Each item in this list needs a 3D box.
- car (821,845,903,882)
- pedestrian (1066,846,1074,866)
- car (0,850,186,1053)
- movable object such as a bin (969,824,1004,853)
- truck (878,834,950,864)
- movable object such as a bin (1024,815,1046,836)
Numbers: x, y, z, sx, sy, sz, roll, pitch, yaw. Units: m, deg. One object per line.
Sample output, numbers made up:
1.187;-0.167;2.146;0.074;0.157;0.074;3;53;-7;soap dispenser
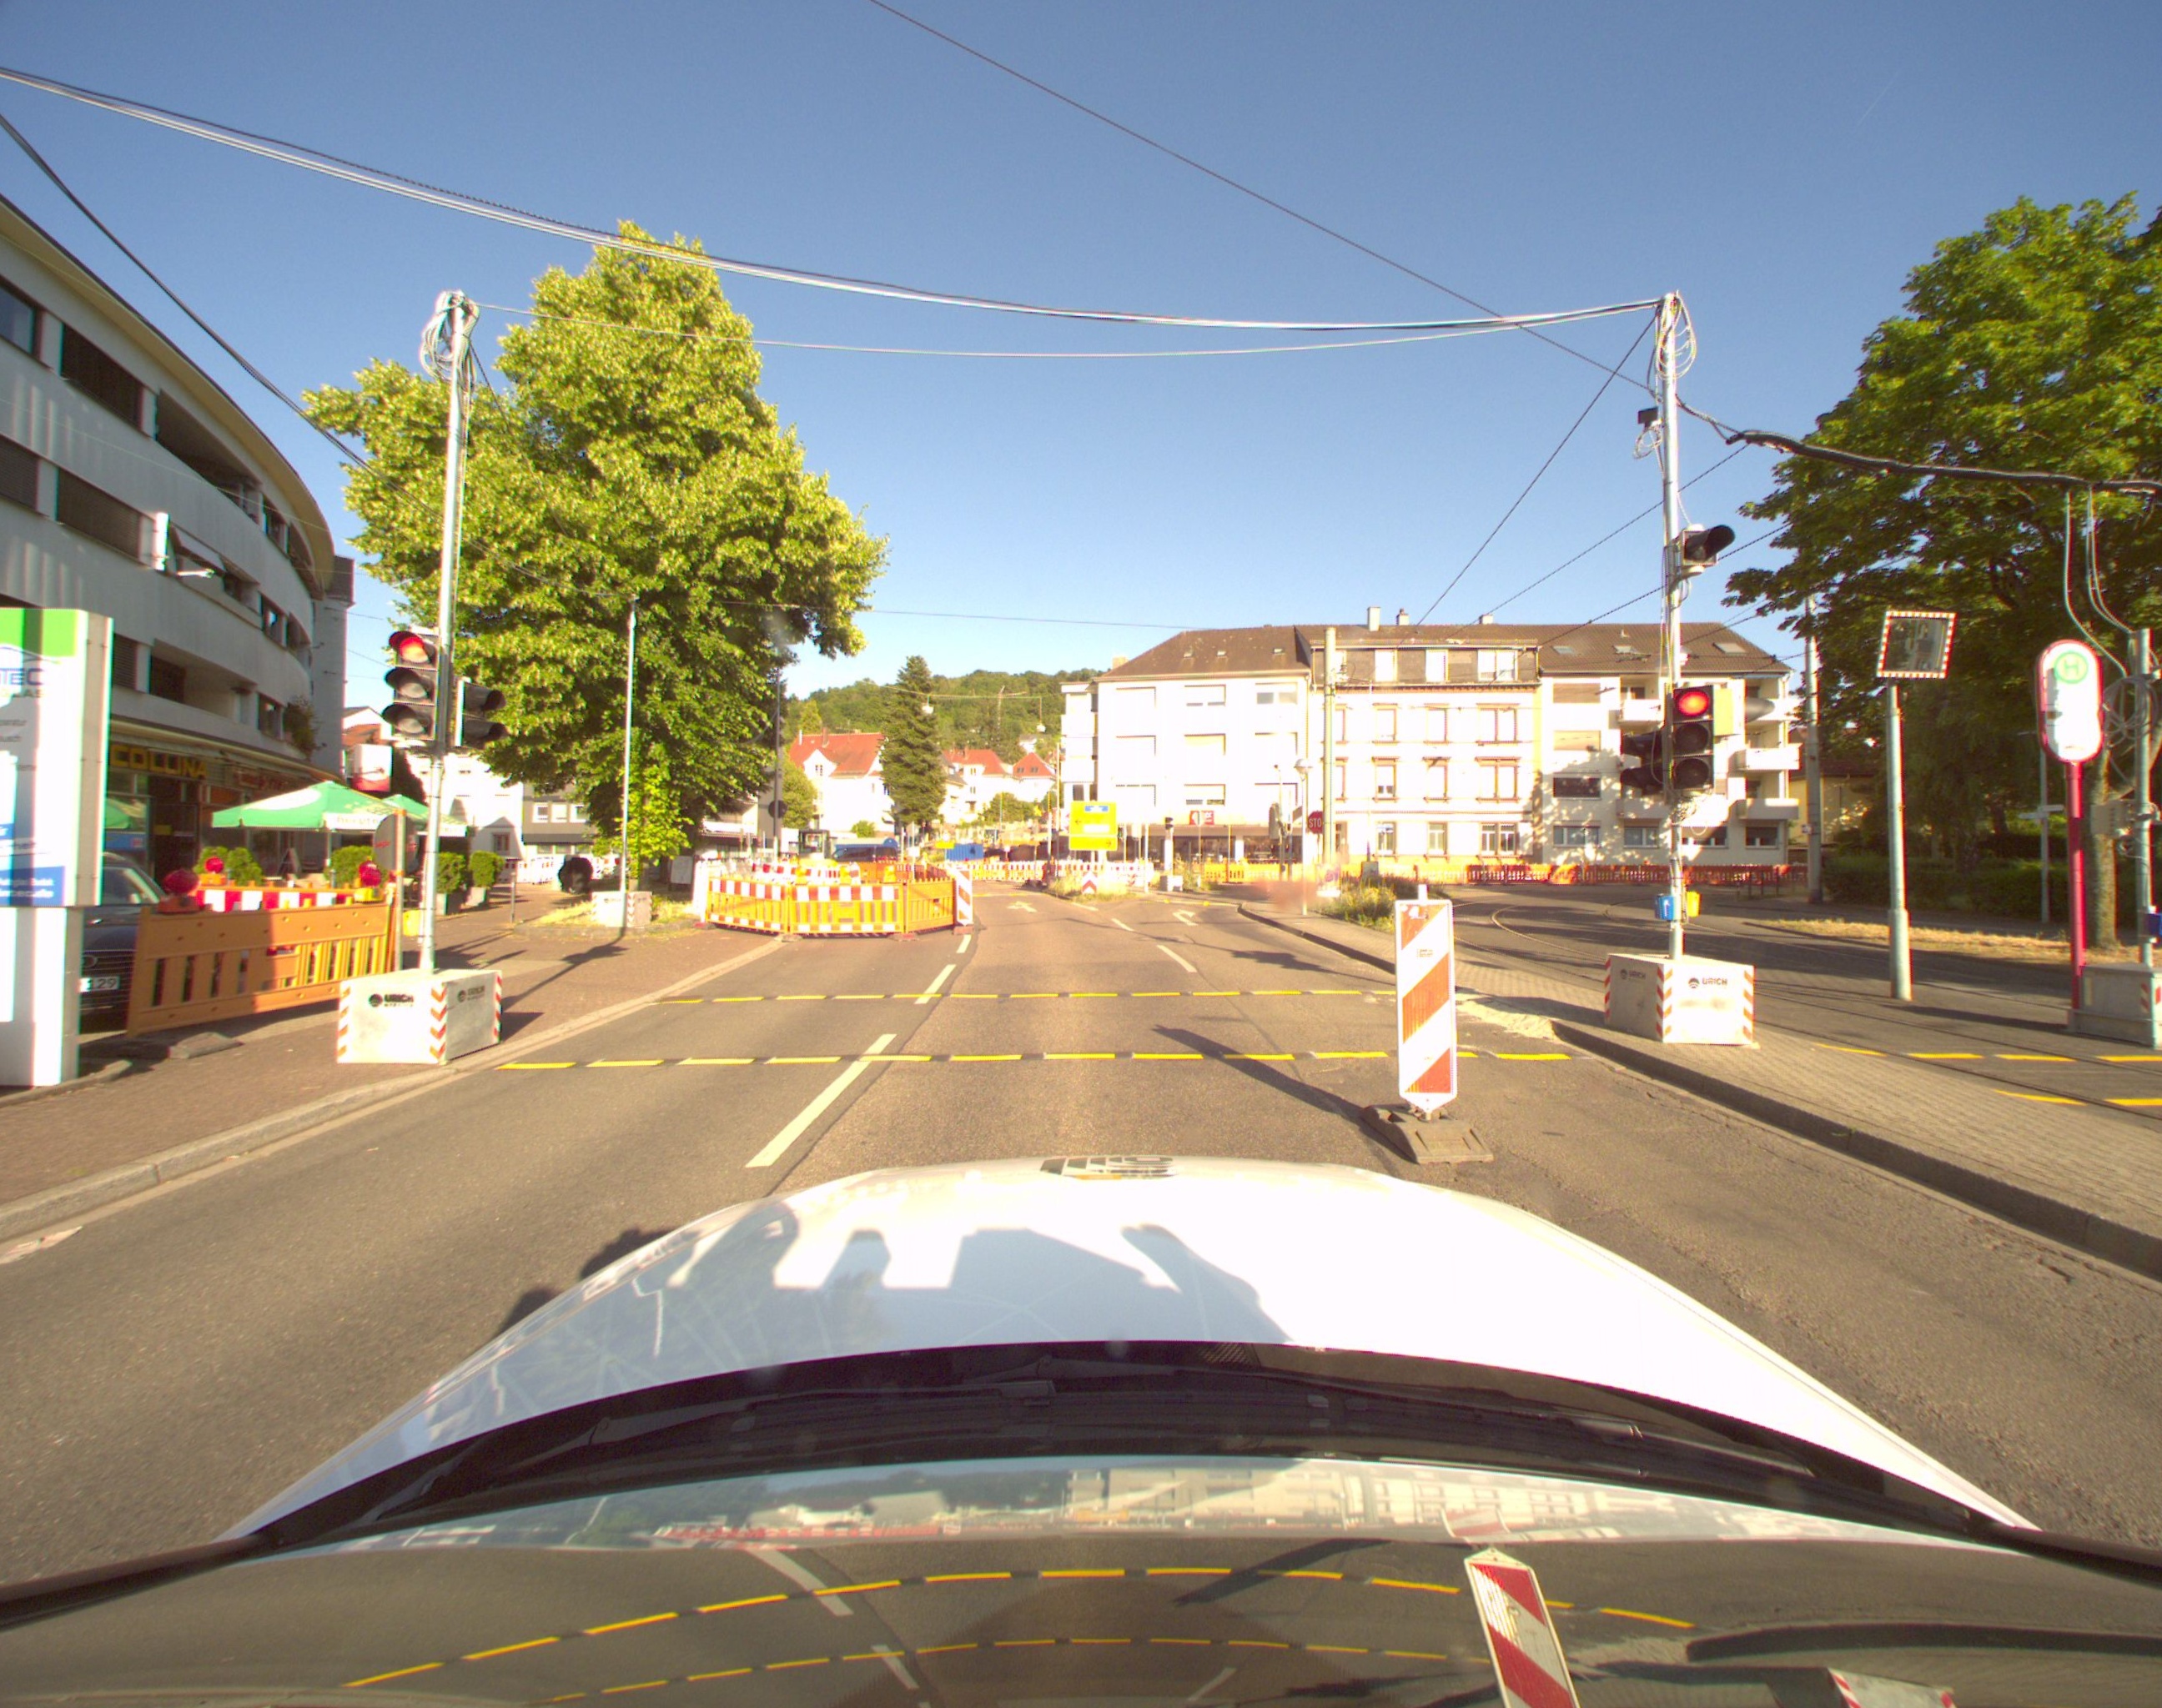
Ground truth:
-12.630;0.501;46.803;4.936;2.014;2.081;0;0;40;car
-0.929;0.181;70.158;0.638;1.760;0.718;0;-1;2;pedestrian
-9.600;0.727;7.536;4.246;1.454;1.660;1;0;43;car
-9.229;-1.498;79.759;2.176;2.690;4.013;0;0;12;movable object such as a bin
-13.986;-0.393;69.178;2.340;2.416;9.184;0;0;13;truck
-6.427;-3.972;114.198;2.176;2.690;4.013;0;0;12;movable object such as a bin
